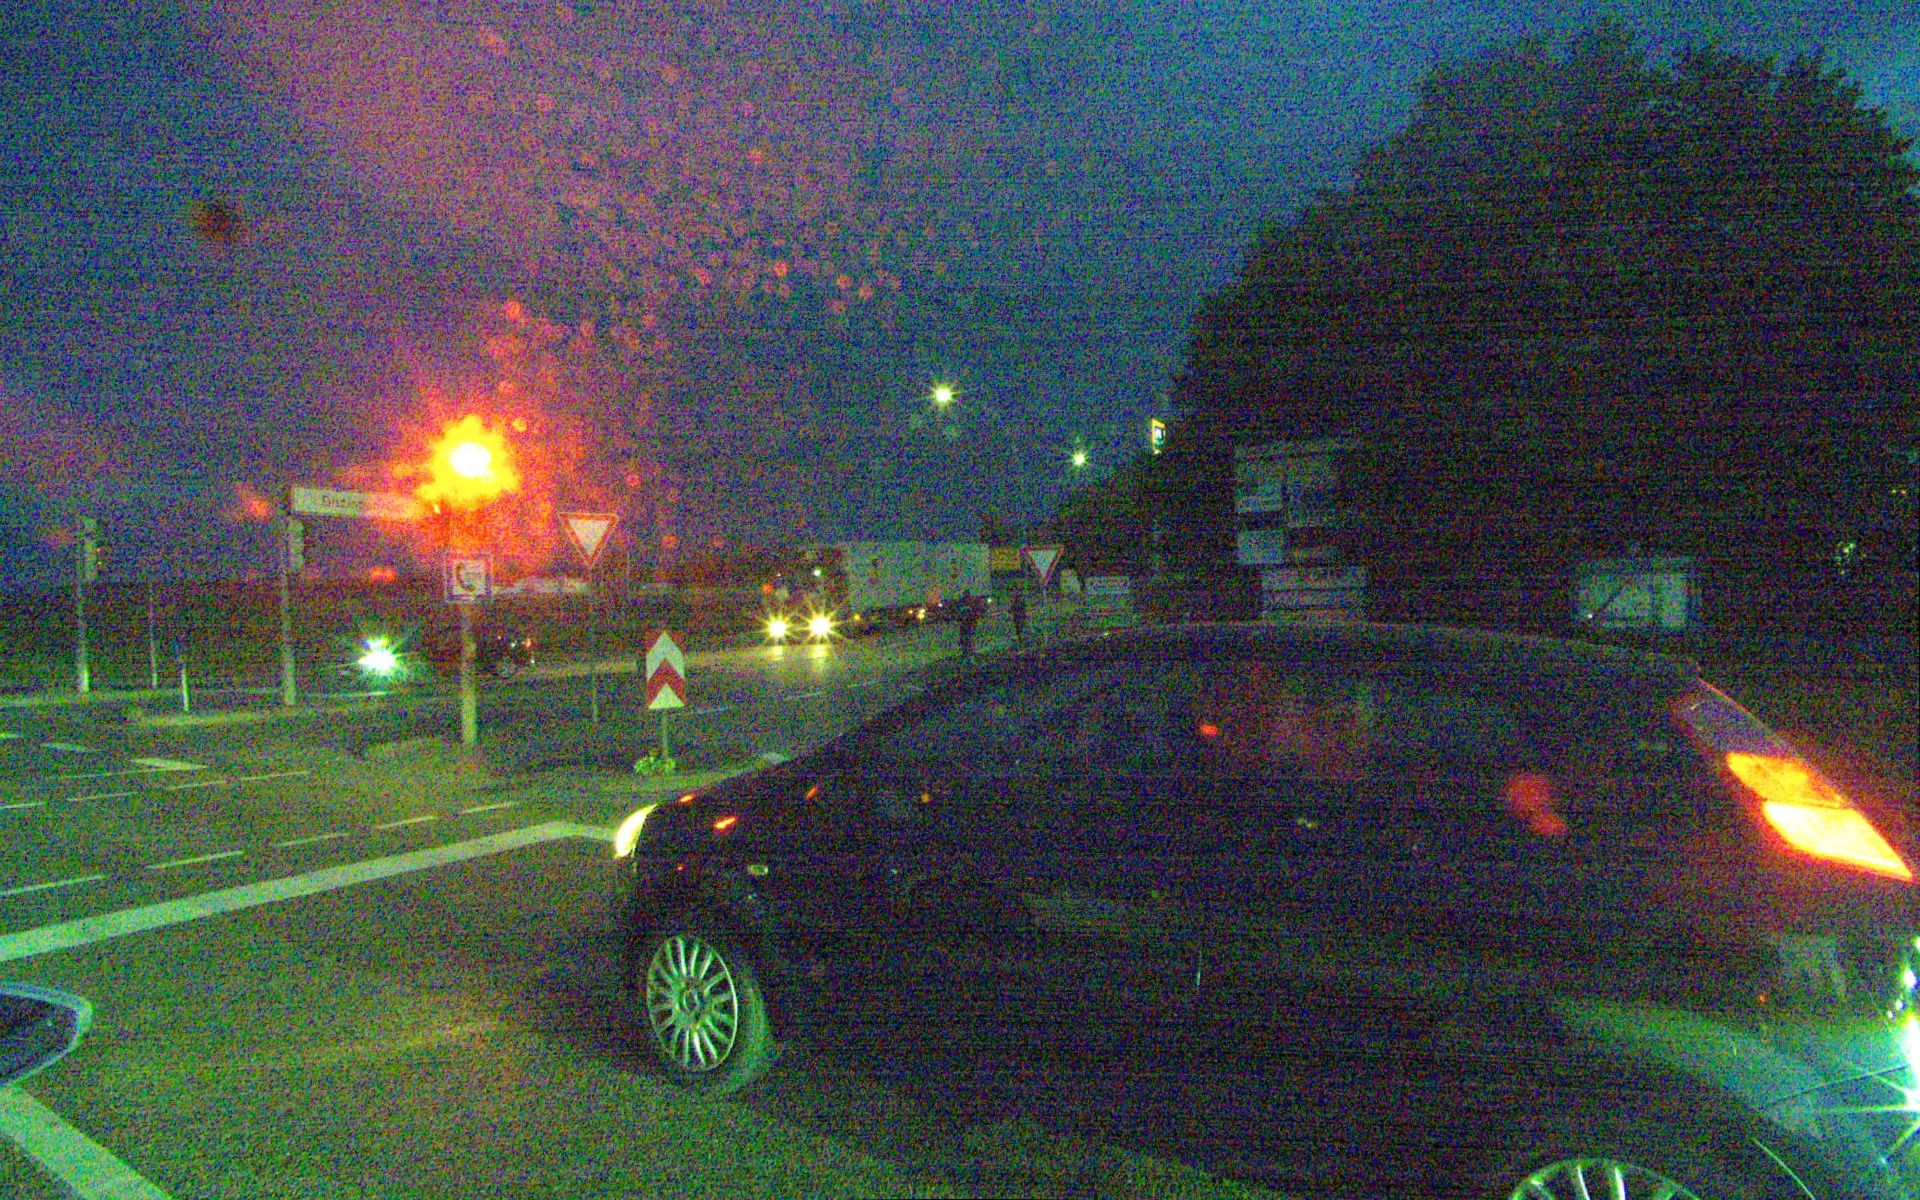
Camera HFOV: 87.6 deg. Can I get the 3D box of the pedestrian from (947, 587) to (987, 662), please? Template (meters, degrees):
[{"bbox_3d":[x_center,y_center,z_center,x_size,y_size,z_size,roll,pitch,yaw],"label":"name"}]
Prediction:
[{"bbox_3d":[0.194,0.627,25.733,0.861,1.859,0.731,-3,1,6],"label":"pedestrian"}]

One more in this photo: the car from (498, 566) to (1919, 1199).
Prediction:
[{"bbox_3d":[0.431,0.757,3.254,4.049,1.540,1.666,-1,-1,34],"label":"car"}]

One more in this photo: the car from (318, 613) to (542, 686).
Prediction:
[{"bbox_3d":[-13.109,1.155,25.070,1.972,1.541,4.590,-1,1,33],"label":"car"}]

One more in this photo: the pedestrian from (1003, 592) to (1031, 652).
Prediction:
[{"bbox_3d":[1.840,0.697,32.298,0.860,1.925,0.660,-1,1,6],"label":"pedestrian"}]

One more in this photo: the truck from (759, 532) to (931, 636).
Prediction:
[{"bbox_3d":[-4.687,-0.666,43.776,2.876,4.033,10.042,-1,1,23],"label":"truck"}]

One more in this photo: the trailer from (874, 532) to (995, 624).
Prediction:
[{"bbox_3d":[-1.102,-1.228,52.475,2.875,4.361,9.043,-1,2,22],"label":"trailer"}]
